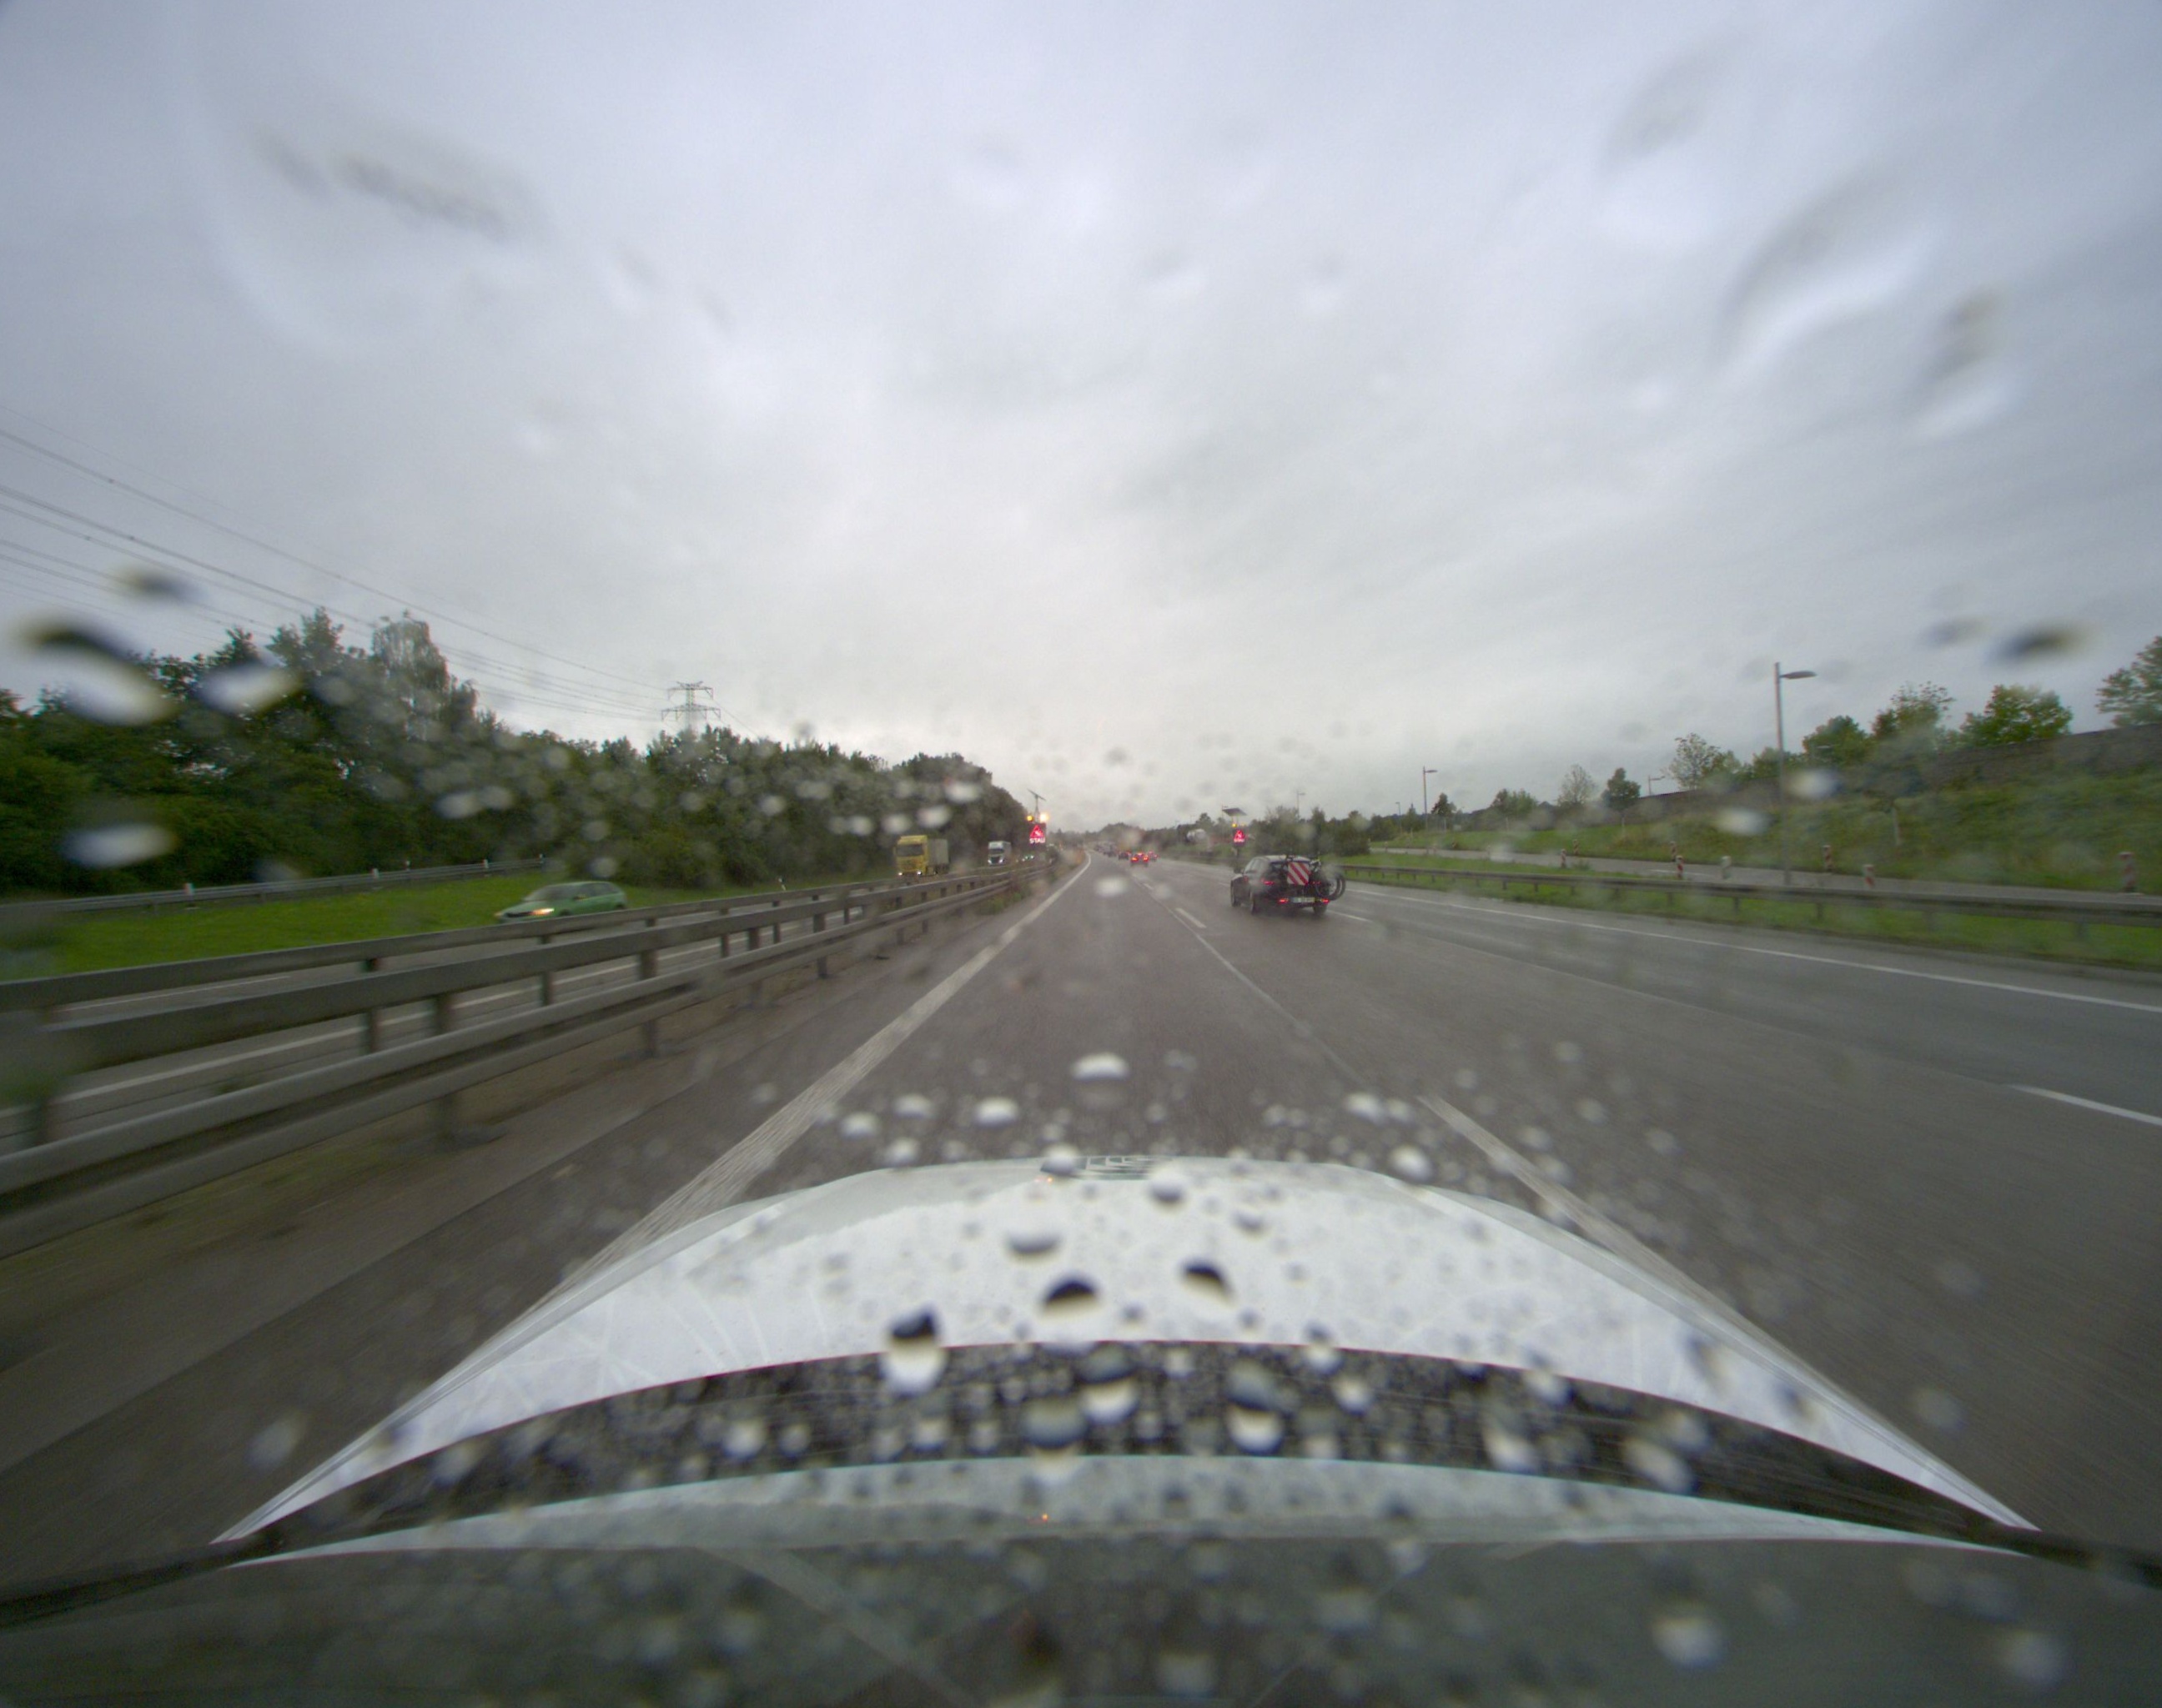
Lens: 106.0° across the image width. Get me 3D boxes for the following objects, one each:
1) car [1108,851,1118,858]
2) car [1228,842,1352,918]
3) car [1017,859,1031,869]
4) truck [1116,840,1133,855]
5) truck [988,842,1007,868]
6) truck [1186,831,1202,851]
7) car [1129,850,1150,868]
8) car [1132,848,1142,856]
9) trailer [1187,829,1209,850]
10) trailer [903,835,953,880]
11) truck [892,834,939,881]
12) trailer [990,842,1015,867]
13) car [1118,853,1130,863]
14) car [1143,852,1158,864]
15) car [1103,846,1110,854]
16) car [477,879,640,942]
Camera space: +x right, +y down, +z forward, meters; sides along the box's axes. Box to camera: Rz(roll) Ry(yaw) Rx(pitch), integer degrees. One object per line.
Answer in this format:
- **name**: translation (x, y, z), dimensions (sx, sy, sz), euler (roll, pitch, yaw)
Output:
- **car**: translation (7.443, 0.066, 189.218), dimensions (1.987, 1.628, 4.001), euler (-2, 0, 1)
- **car**: translation (5.157, 0.628, 20.921), dimensions (2.049, 1.671, 5.526), euler (-1, -1, 3)
- **car**: translation (-9.458, 1.654, 135.448), dimensions (1.868, 1.493, 4.515), euler (-3, 0, 1)
- **truck**: translation (12.044, -1.746, 226.884), dimensions (3.910, 3.981, 12.241), euler (-2, 0, 1)
- **truck**: translation (-14.299, 0.136, 139.902), dimensions (2.634, 4.237, 4.001), euler (-2, 0, 1)
- **truck**: translation (25.014, -2.909, 180.649), dimensions (2.938, 4.145, 4.923), euler (-2, 0, 1)
- **car**: translation (6.189, 0.534, 86.231), dimensions (1.987, 1.761, 4.001), euler (-2, 0, 1)
- **car**: translation (12.612, -0.477, 182.907), dimensions (1.987, 1.628, 4.001), euler (-2, 0, 1)
- **trailer**: translation (24.900, -2.918, 173.593), dimensions (2.975, 4.156, 12.958), euler (-2, 0, 1)
- **trailer**: translation (-15.089, 0.282, 80.960), dimensions (2.752, 4.055, 9.202), euler (-4, 0, 1)
- **truck**: translation (-15.191, 0.301, 75.150), dimensions (2.752, 4.055, 6.158), euler (-4, 0, 1)
- **trailer**: translation (-14.077, 0.117, 147.670), dimensions (2.634, 4.237, 13.915), euler (-2, 0, 1)
- **car**: translation (7.697, 0.673, 146.663), dimensions (1.987, 1.628, 4.001), euler (-2, 0, 1)
- **car**: translation (10.765, 0.539, 126.712), dimensions (1.987, 1.761, 4.001), euler (-2, 0, 1)
- **car**: translation (7.689, -1.166, 241.985), dimensions (1.987, 2.205, 4.001), euler (-2, 0, 1)
- **car**: translation (-15.656, 1.635, 24.743), dimensions (1.868, 1.493, 4.515), euler (-3, 0, 1)
